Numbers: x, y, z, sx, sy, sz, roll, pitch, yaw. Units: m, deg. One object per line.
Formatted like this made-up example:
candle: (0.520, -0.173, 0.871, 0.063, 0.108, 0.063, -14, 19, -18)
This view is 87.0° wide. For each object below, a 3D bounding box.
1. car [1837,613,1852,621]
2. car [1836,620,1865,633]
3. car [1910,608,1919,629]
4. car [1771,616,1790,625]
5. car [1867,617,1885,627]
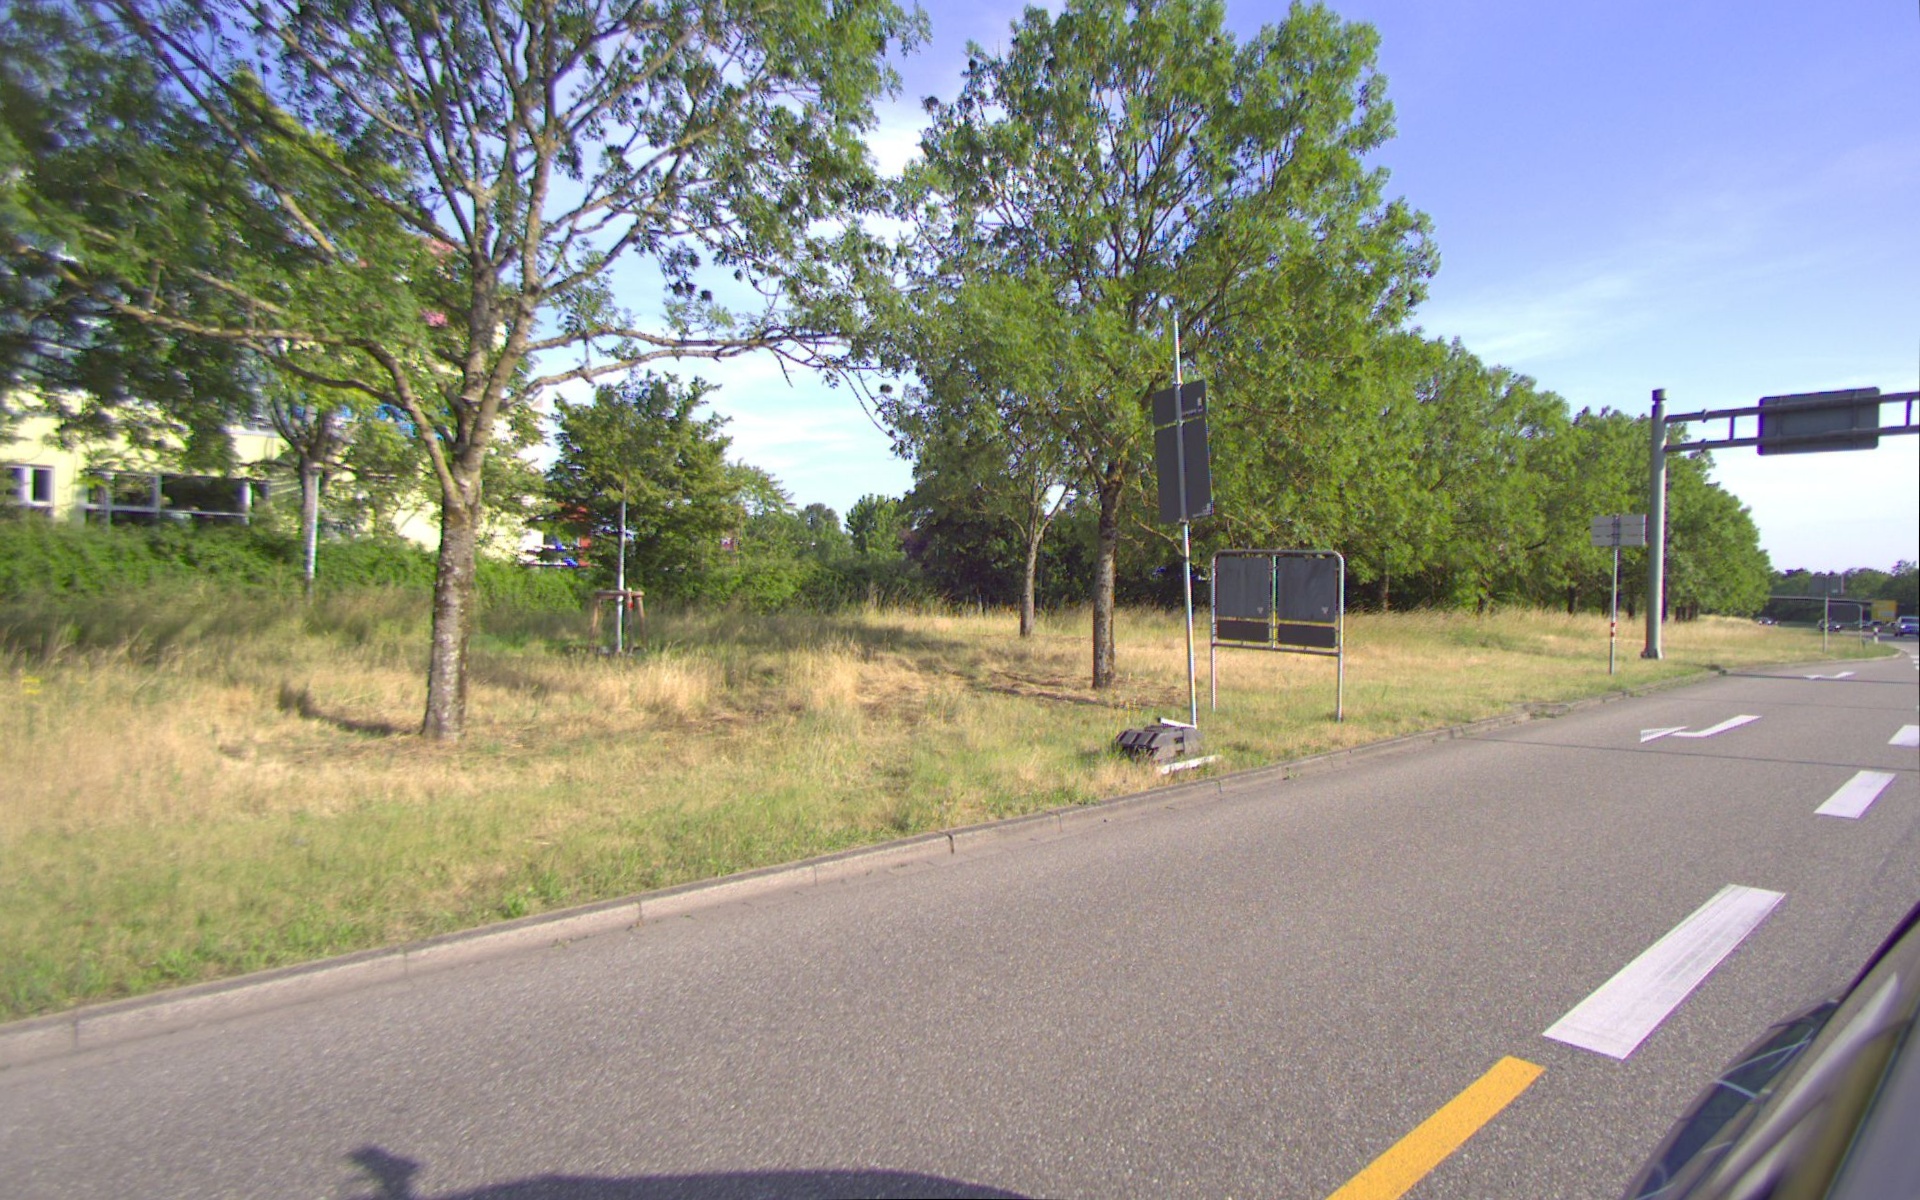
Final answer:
car: (160.368, 3.034, 183.523, 1.596, 1.459, 3.198, 0, -1, 32)
car: (99.795, 2.915, 113.485, 1.890, 1.403, 4.301, 0, -1, 34)
car: (87.077, 1.633, 90.864, 1.890, 1.847, 4.301, 0, -1, 34)
car: (141.917, 3.550, 175.064, 1.880, 1.474, 3.868, 2, 1, 30)
car: (136.703, 3.331, 151.097, 1.597, 1.460, 3.195, 0, -1, 35)
